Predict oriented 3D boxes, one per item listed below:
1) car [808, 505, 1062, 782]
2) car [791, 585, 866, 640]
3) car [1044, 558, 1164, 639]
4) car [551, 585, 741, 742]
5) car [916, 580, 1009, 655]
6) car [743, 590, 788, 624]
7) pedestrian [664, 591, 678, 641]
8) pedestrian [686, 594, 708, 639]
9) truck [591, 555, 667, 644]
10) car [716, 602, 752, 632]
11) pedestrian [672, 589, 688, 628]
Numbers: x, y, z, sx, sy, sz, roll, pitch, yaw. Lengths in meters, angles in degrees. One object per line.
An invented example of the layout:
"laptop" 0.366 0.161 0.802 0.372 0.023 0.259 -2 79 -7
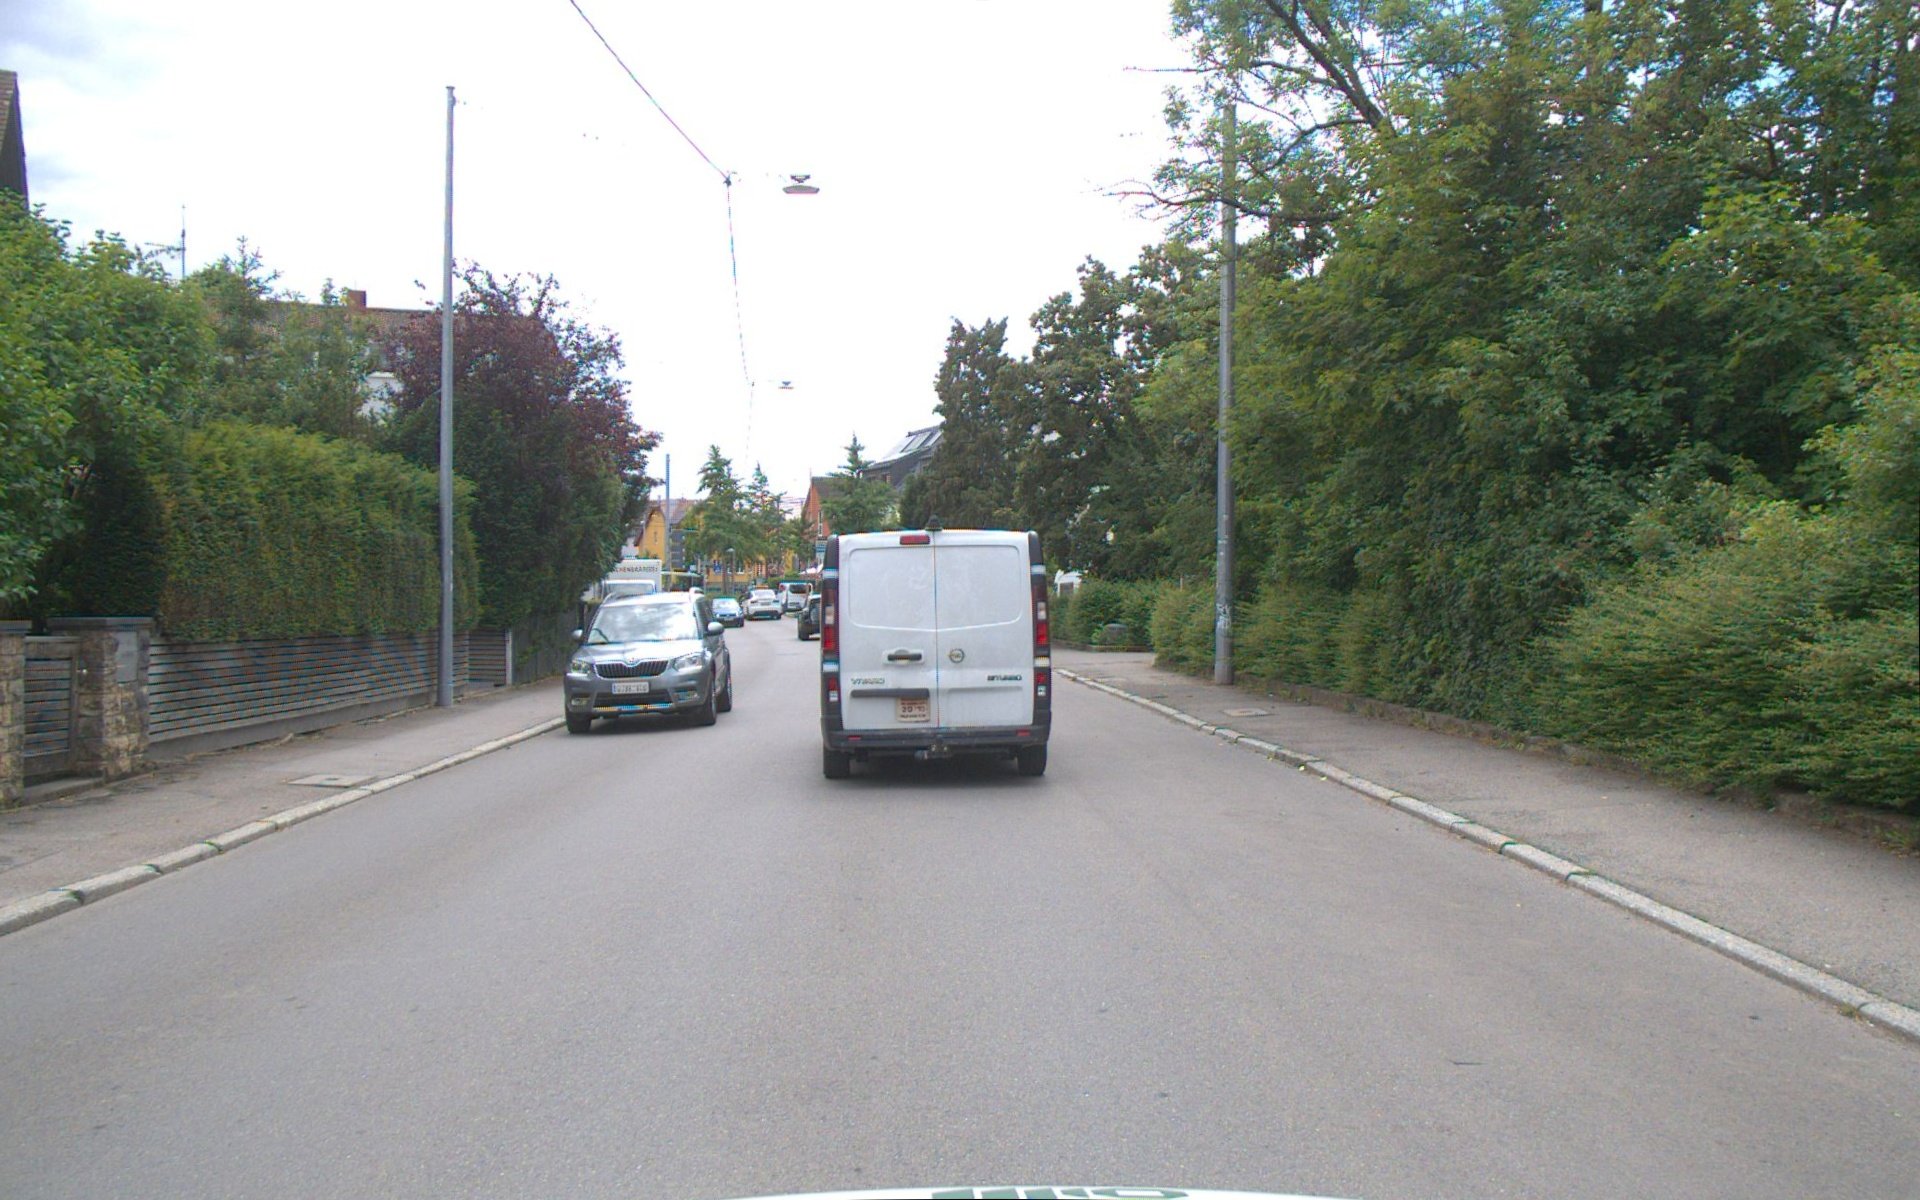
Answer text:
"car" -0.345 0.329 14.595 1.878 2.038 4.433 -1 0 -4
"car" -4.757 0.433 59.313 1.961 1.880 3.984 -1 0 -15
"car" 5.168 -0.052 60.143 2.459 2.729 5.159 2 -1 -18
"car" -3.857 0.736 20.962 1.804 1.684 4.135 -3 0 -4
"car" -0.001 0.464 44.197 1.873 1.881 5.150 0 0 -7
"car" -11.077 0.387 94.178 1.961 1.813 3.984 -1 0 -15
"pedestrian" -10.058 0.553 57.585 0.394 1.724 0.595 2 -1 -12
"pedestrian" -10.105 0.636 63.525 0.709 1.716 1.107 2 -1 -7
"truck" -11.429 -0.016 57.048 2.429 2.890 6.687 0 0 -12
"car" -11.709 0.890 85.820 1.661 1.457 3.922 2 -1 -6
"pedestrian" -14.465 0.437 85.470 0.719 1.980 1.216 2 -1 -7
